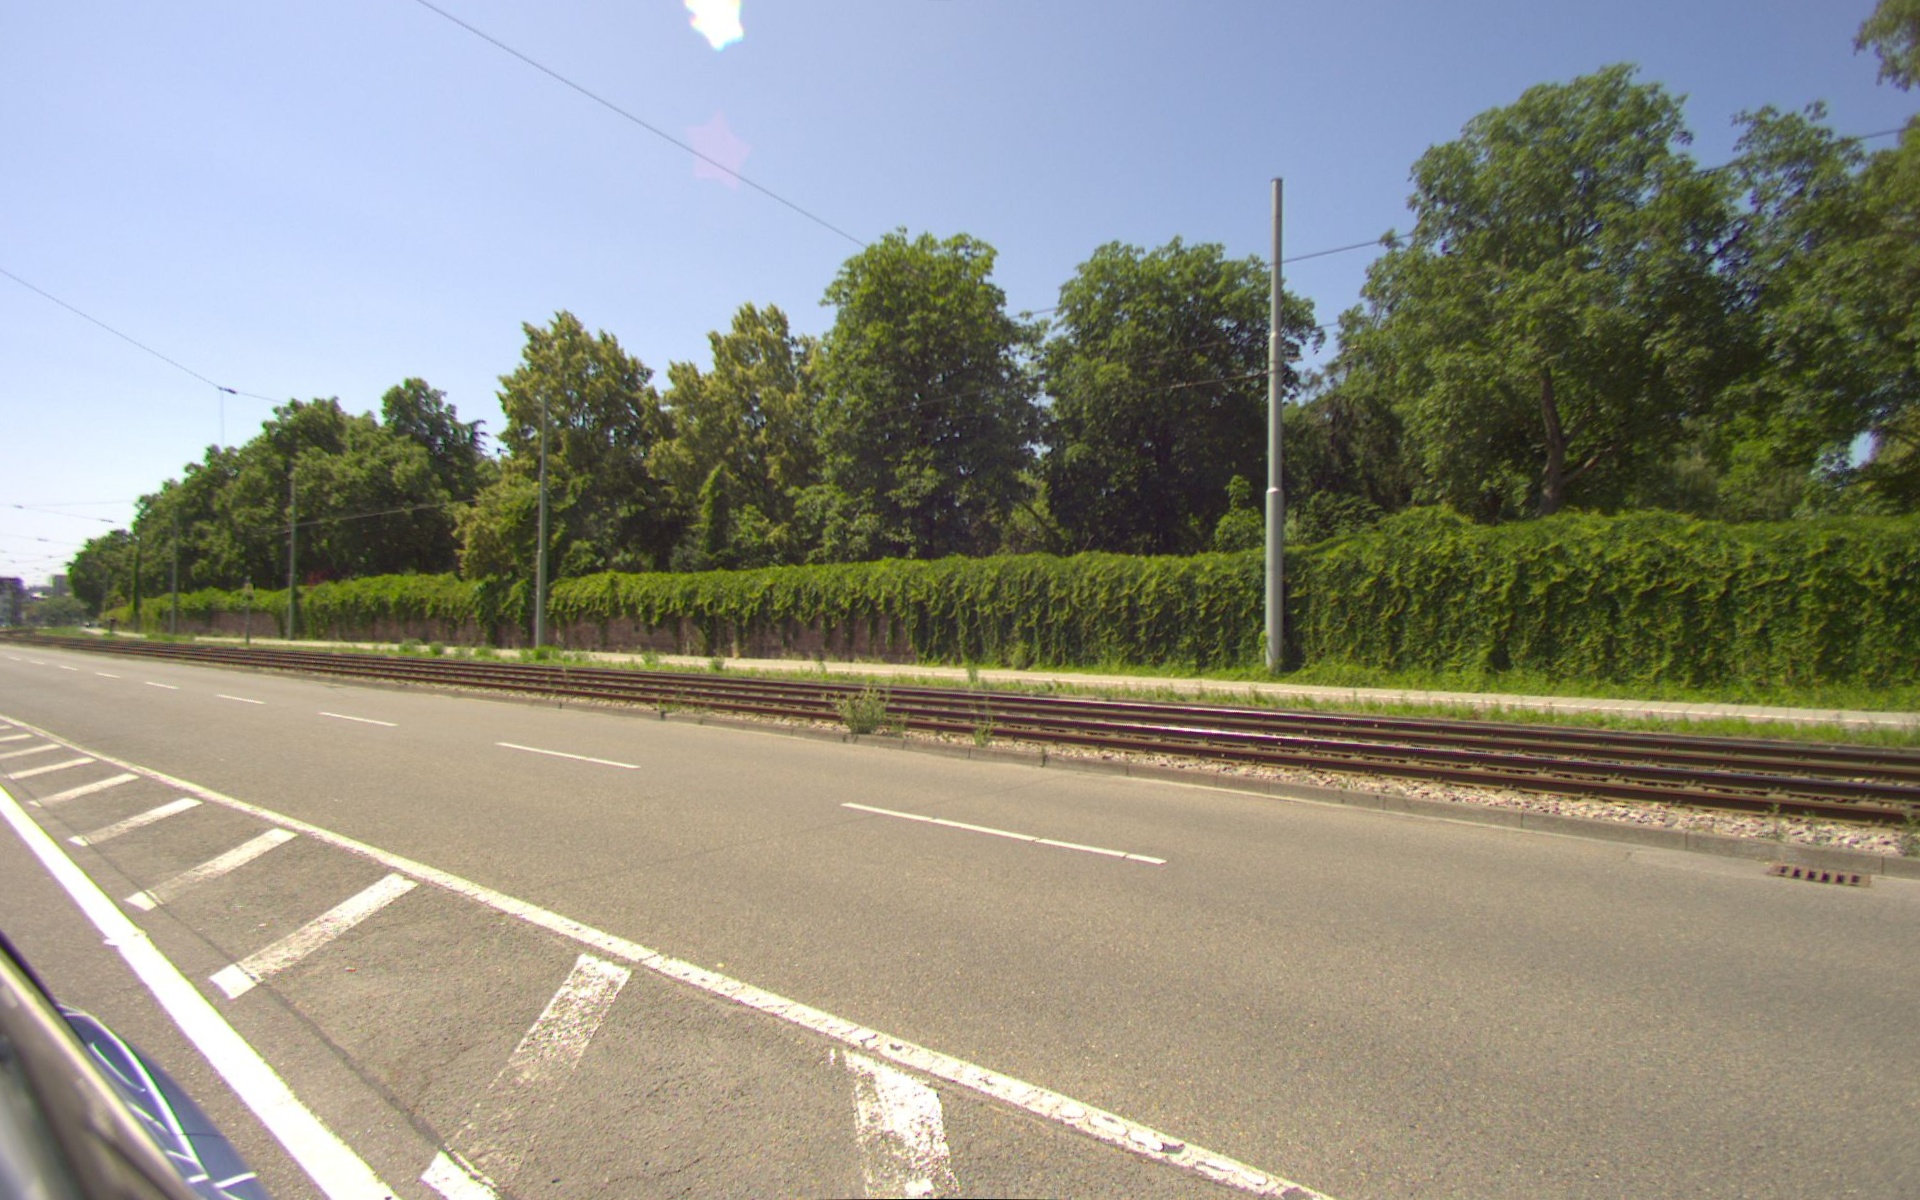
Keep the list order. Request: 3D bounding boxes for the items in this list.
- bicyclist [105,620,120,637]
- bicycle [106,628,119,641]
[{"bbox_3d":[-75.698,2.575,90.423,0.982,1.497,1.001,1,-2,-42],"label":"bicyclist"},{"bbox_3d":[-75.631,3.049,90.338,0.818,1.165,2.689,1,-2,-41],"label":"bicycle"}]
